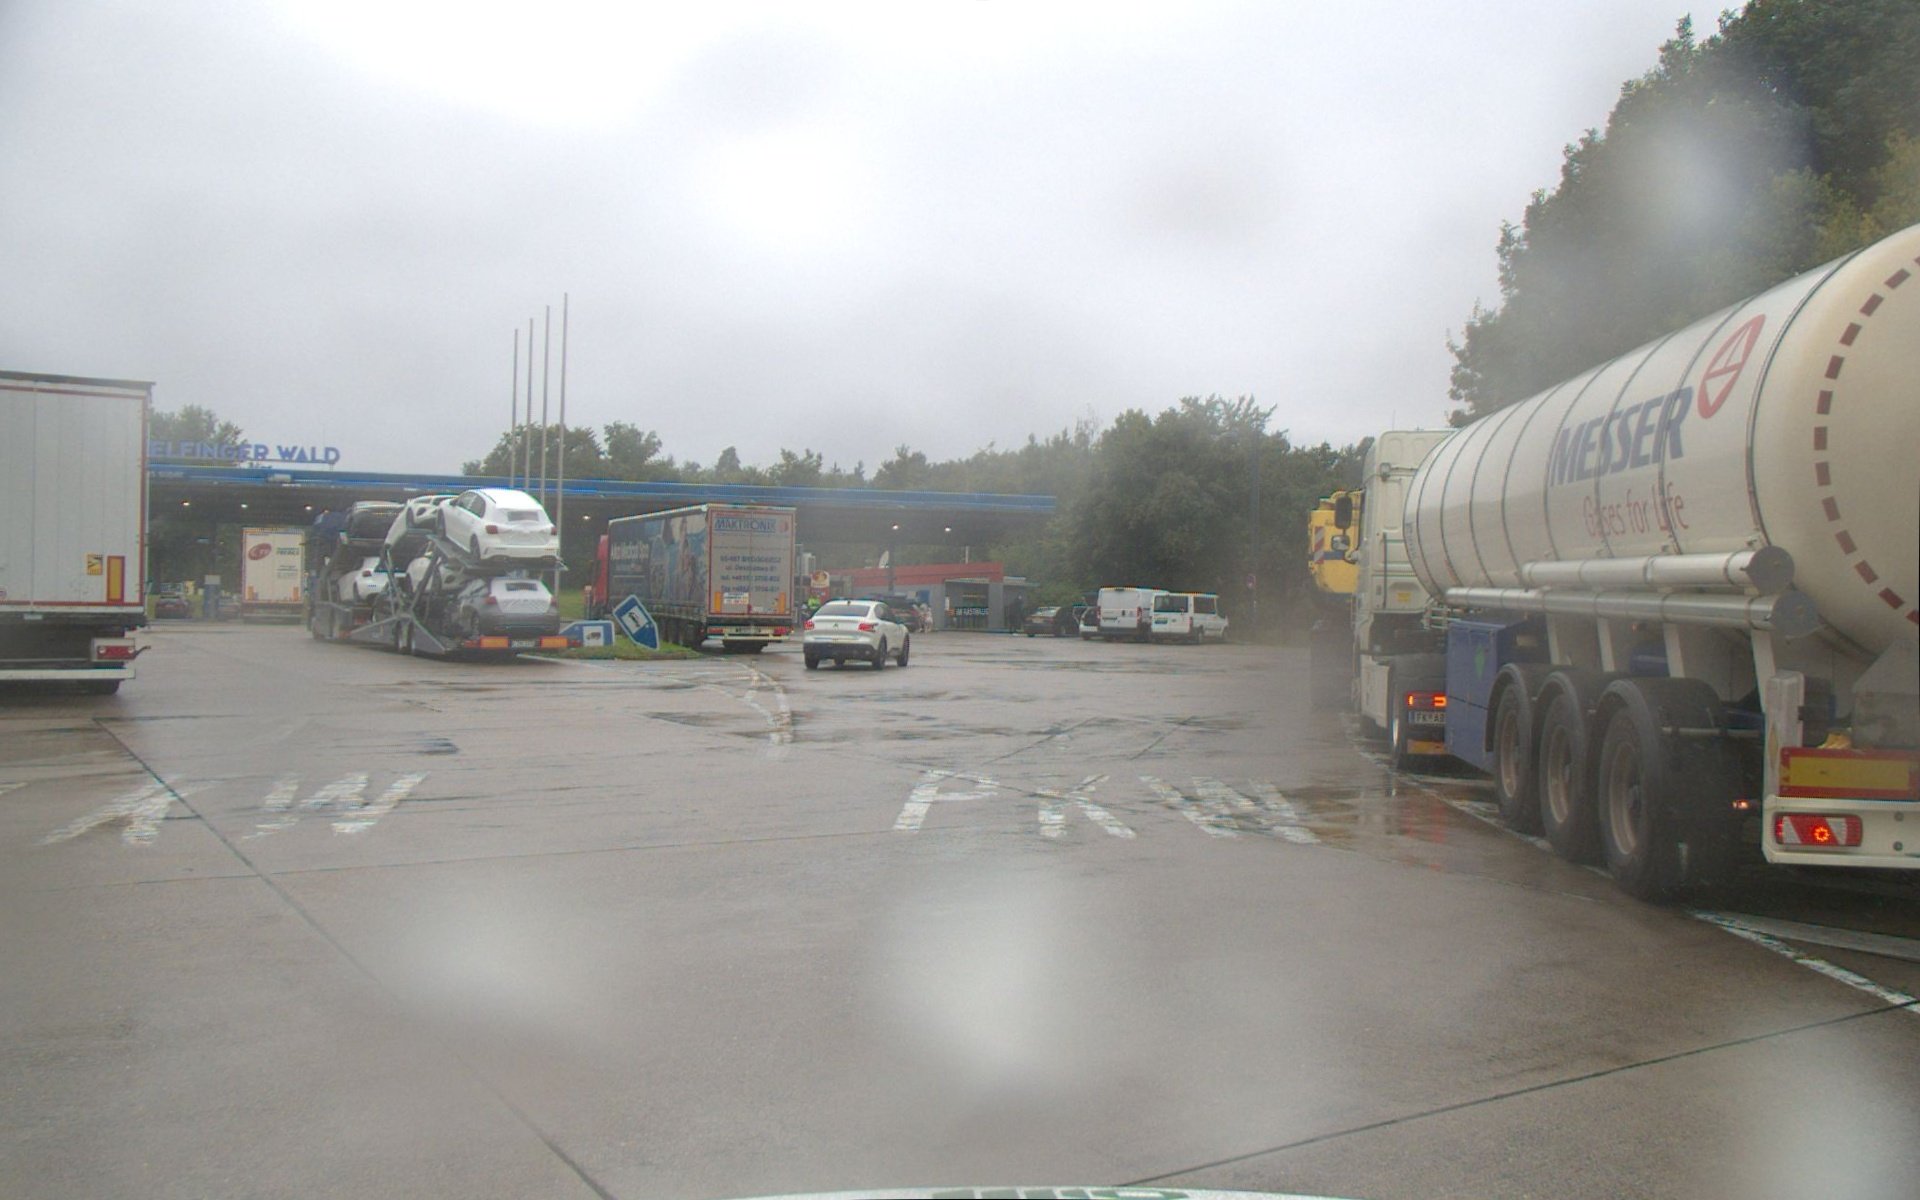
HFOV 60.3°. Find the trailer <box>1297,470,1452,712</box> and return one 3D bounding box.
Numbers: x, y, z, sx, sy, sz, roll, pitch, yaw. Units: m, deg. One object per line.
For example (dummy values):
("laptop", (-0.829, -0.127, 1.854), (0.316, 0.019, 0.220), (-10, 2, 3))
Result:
("trailer", (6.917, -0.138, 27.535), (2.136, 3.452, 7.569), (1, 0, 15))

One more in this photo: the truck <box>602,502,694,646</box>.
("truck", (-10.634, -0.822, 56.153), (1.962, 4.629, 4.759), (2, -1, -24))

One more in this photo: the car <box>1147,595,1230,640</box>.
("car", (9.289, 0.698, 66.971), (2.073, 1.758, 3.994), (1, 0, 28))

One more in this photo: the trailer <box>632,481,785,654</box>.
("trailer", (-7.725, -0.847, 49.526), (1.967, 4.639, 9.735), (2, -1, -24))

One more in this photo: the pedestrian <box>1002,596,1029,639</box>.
("pedestrian", (2.582, 0.826, 76.807), (0.934, 1.953, 1.089), (1, 0, 21))

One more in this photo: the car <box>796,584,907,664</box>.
("car", (-2.407, 0.538, 37.652), (1.951, 1.709, 4.002), (1, -1, 4))

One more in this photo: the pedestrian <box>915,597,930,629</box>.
("pedestrian", (-1.841, 0.670, 82.066), (0.598, 1.566, 0.592), (1, -2, -15))

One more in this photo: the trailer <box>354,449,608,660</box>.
("trailer", (-11.770, -0.977, 39.534), (3.181, 4.262, 11.414), (2, 0, -30))

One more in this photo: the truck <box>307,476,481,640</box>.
("truck", (-16.629, -1.148, 48.154), (3.199, 4.262, 8.360), (2, 0, -30))

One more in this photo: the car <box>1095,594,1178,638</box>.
("car", (7.371, 0.670, 68.823), (2.073, 1.758, 3.994), (1, 0, 28))

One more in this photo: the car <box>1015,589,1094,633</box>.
("car", (4.390, 0.510, 76.490), (2.073, 1.971, 4.185), (1, 0, 28))

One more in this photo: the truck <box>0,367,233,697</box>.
("truck", (-13.491, -0.871, 25.654), (2.347, 3.942, 12.318), (1, 0, -32))

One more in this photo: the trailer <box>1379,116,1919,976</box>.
("trailer", (4.688, -0.203, 11.800), (2.086, 3.501, 10.261), (1, 0, 8))

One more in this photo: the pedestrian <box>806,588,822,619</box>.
("pedestrian", (-7.582, 0.165, 85.967), (0.704, 1.548, 0.742), (3, -3, 1))

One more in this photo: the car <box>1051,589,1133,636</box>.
("car", (5.845, 0.533, 72.573), (2.073, 1.971, 4.185), (1, 0, 28))

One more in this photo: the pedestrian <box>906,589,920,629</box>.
("pedestrian", (-2.428, 0.460, 86.016), (0.575, 2.049, 0.636), (3, -3, -7))

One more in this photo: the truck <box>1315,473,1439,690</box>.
("truck", (8.066, -0.350, 31.957), (2.134, 3.895, 4.145), (1, 0, 15))

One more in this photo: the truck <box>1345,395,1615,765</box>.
("truck", (5.598, -0.203, 18.439), (2.100, 3.574, 4.650), (1, 0, 8))

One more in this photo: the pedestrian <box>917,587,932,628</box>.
("pedestrian", (-1.825, 0.402, 84.822), (0.655, 2.049, 0.742), (3, -3, 1))
